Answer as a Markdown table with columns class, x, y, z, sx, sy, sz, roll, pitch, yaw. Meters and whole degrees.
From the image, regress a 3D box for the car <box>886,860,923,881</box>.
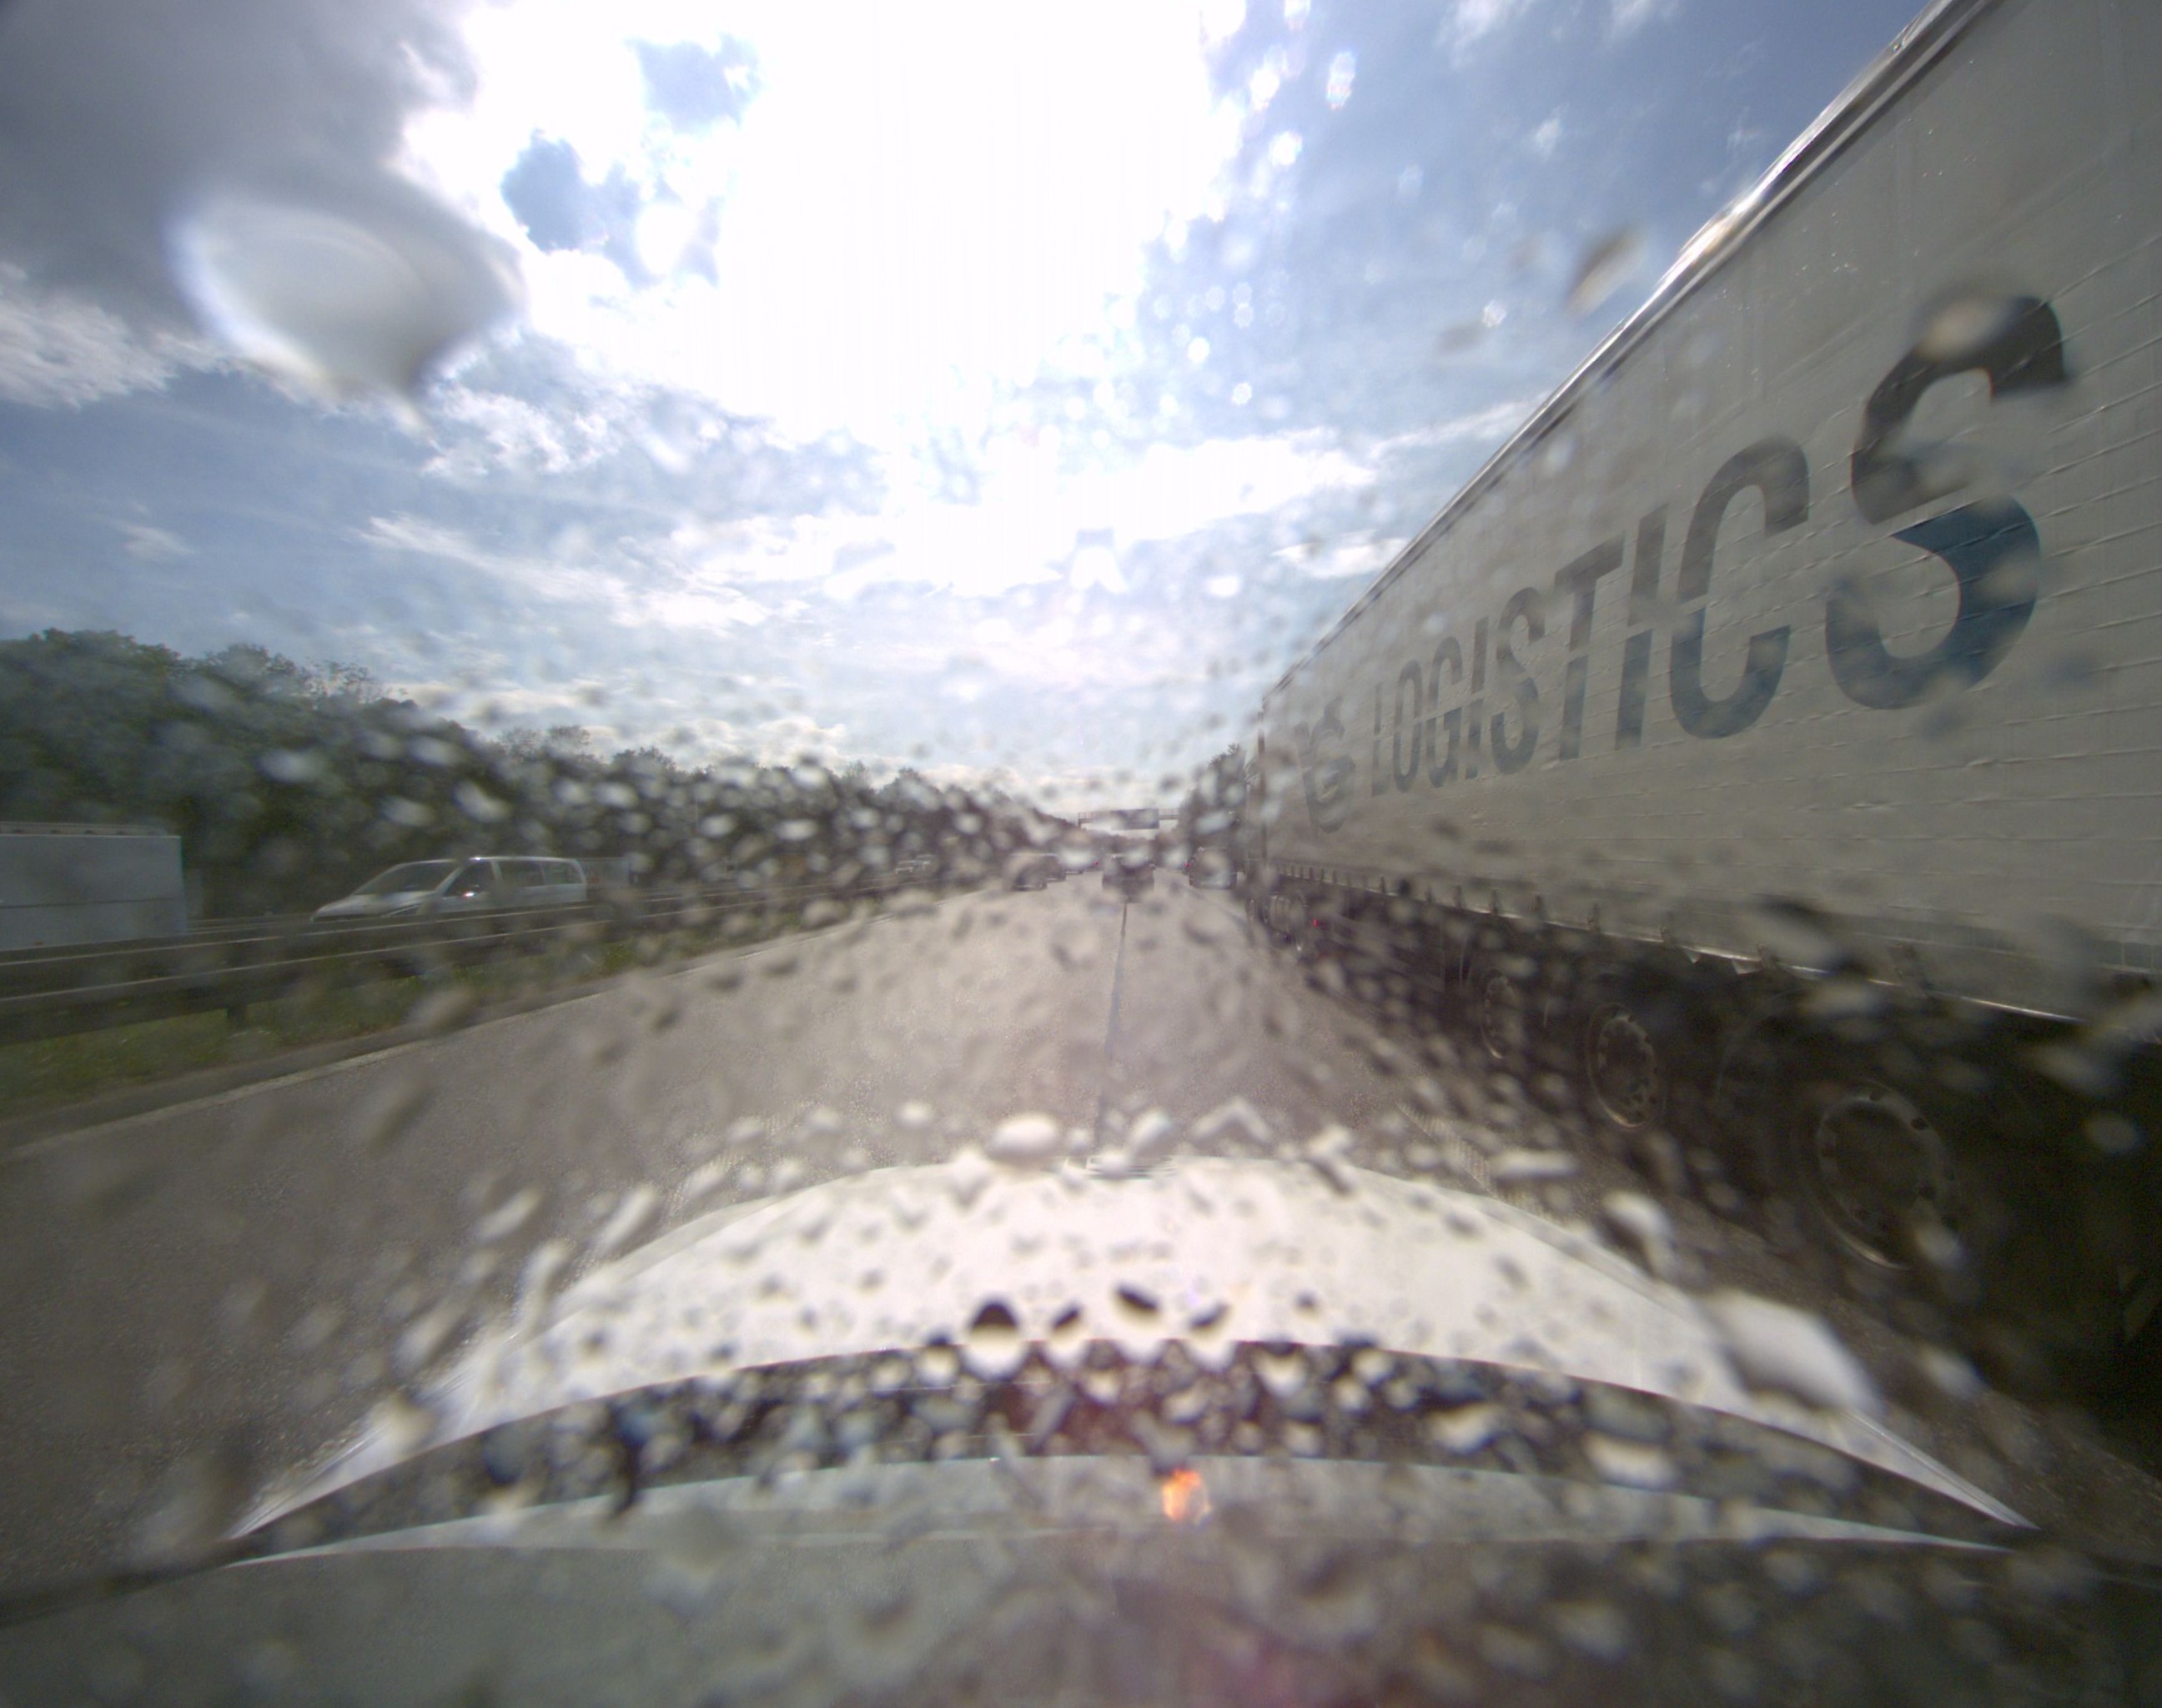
| class | x | y | z | sx | sy | sz | roll | pitch | yaw |
| --- | --- | --- | --- | --- | --- | --- | --- | --- | --- |
| car | -16.517 | 1.566 | 76.614 | 2.038 | 1.891 | 5.263 | -1 | -1 | 3 |

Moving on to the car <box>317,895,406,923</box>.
| class | x | y | z | sx | sy | sz | roll | pitch | yaw |
| --- | --- | --- | --- | --- | --- | --- | --- | --- | --- |
| car | -50.265 | 3.813 | 57.009 | 2.048 | 1.718 | 4.375 | -1 | -1 | 6 |

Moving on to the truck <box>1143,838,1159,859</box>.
| class | x | y | z | sx | sy | sz | roll | pitch | yaw |
| --- | --- | --- | --- | --- | --- | --- | --- | --- | --- |
| truck | 12.593 | -0.936 | 147.507 | 2.763 | 3.632 | 5.923 | -1 | -1 | 4 |

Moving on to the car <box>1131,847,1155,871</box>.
| class | x | y | z | sx | sy | sz | roll | pitch | yaw |
| --- | --- | --- | --- | --- | --- | --- | --- | --- | --- |
| car | 4.715 | 0.377 | 62.285 | 1.686 | 1.805 | 3.977 | 0 | -1 | 2 |

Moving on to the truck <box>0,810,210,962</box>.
| class | x | y | z | sx | sy | sz | roll | pitch | yaw |
| --- | --- | --- | --- | --- | --- | --- | --- | --- | --- |
| truck | -20.410 | 0.570 | 14.007 | 2.830 | 2.682 | 7.199 | -1 | -1 | 4 |

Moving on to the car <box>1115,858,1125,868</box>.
| class | x | y | z | sx | sy | sz | roll | pitch | yaw |
| --- | --- | --- | --- | --- | --- | --- | --- | --- | --- |
| car | 8.246 | 1.972 | 171.782 | 1.984 | 2.115 | 4.894 | -1 | -1 | 4 |

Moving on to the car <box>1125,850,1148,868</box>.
| class | x | y | z | sx | sy | sz | roll | pitch | yaw |
| --- | --- | --- | --- | --- | --- | --- | --- | --- | --- |
| car | 5.023 | 0.468 | 74.277 | 1.858 | 1.516 | 3.977 | 0 | -1 | 1 |

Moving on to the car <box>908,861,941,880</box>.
| class | x | y | z | sx | sy | sz | roll | pitch | yaw |
| --- | --- | --- | --- | --- | --- | --- | --- | --- | --- |
| car | -15.923 | 1.625 | 82.994 | 2.038 | 1.891 | 5.263 | -1 | -1 | 3 |

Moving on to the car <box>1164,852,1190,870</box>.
| class | x | y | z | sx | sy | sz | roll | pitch | yaw |
| --- | --- | --- | --- | --- | --- | --- | --- | --- | --- |
| car | 8.287 | 0.619 | 70.514 | 1.858 | 1.516 | 3.977 | 0 | -1 | 1 |

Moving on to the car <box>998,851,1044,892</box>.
| class | x | y | z | sx | sy | sz | roll | pitch | yaw |
| --- | --- | --- | --- | --- | --- | --- | --- | --- | --- |
| car | -2.743 | 0.777 | 38.013 | 1.686 | 1.805 | 3.977 | 0 | -1 | 2 |

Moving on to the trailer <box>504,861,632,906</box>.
| class | x | y | z | sx | sy | sz | roll | pitch | yaw |
| --- | --- | --- | --- | --- | --- | --- | --- | --- | --- |
| trailer | -47.097 | 2.597 | 75.368 | 3.765 | 3.649 | 10.529 | -2 | 0 | 11 |

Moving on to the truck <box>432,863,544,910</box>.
| class | x | y | z | sx | sy | sz | roll | pitch | yaw |
| --- | --- | --- | --- | --- | --- | --- | --- | --- | --- |
| truck | -48.561 | 2.574 | 66.959 | 3.766 | 3.660 | 6.721 | -1 | -1 | 9 |

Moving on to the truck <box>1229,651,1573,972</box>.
| class | x | y | z | sx | sy | sz | roll | pitch | yaw |
| --- | --- | --- | --- | --- | --- | --- | --- | --- | --- |
| truck | 4.461 | -0.505 | 13.105 | 3.271 | 3.891 | 6.400 | 0 | 0 | 2 |

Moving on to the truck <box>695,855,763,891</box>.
| class | x | y | z | sx | sy | sz | roll | pitch | yaw |
| --- | --- | --- | --- | --- | --- | --- | --- | --- | --- |
| truck | -41.766 | 2.229 | 96.849 | 3.758 | 4.117 | 7.076 | -1 | -1 | 17 |

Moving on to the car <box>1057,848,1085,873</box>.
| class | x | y | z | sx | sy | sz | roll | pitch | yaw |
| --- | --- | --- | --- | --- | --- | --- | --- | --- | --- |
| car | -0.818 | 0.530 | 69.044 | 1.970 | 2.054 | 4.761 | -1 | -1 | 4 |

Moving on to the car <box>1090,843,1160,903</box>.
| class | x | y | z | sx | sy | sz | roll | pitch | yaw |
| --- | --- | --- | --- | --- | --- | --- | --- | --- | --- |
| car | 1.532 | 0.660 | 29.149 | 2.265 | 1.954 | 4.823 | -1 | -1 | 2 |

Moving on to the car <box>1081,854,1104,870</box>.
| class | x | y | z | sx | sy | sz | roll | pitch | yaw |
| --- | --- | --- | --- | --- | --- | --- | --- | --- | --- |
| car | 1.180 | 0.820 | 81.478 | 1.984 | 1.565 | 4.761 | -1 | -1 | 4 |

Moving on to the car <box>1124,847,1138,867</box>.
| class | x | y | z | sx | sy | sz | roll | pitch | yaw |
| --- | --- | --- | --- | --- | --- | --- | --- | --- | --- |
| car | 7.384 | 0.463 | 120.380 | 1.984 | 2.746 | 5.265 | -1 | -1 | 4 |

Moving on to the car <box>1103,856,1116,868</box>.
| class | x | y | z | sx | sy | sz | roll | pitch | yaw |
| --- | --- | --- | --- | --- | --- | --- | --- | --- | --- |
| car | 5.011 | 1.415 | 143.614 | 1.984 | 2.115 | 4.894 | -1 | -1 | 4 |

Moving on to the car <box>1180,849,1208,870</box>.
| class | x | y | z | sx | sy | sz | roll | pitch | yaw |
| --- | --- | --- | --- | --- | --- | --- | --- | --- | --- |
| car | 8.297 | 0.427 | 59.980 | 1.585 | 1.516 | 3.977 | 0 | -1 | 2 |

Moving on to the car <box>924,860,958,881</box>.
| class | x | y | z | sx | sy | sz | roll | pitch | yaw |
| --- | --- | --- | --- | --- | --- | --- | --- | --- | --- |
| car | -13.046 | 1.532 | 76.215 | 2.038 | 1.891 | 5.263 | -1 | -1 | 3 |

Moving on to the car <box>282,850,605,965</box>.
| class | x | y | z | sx | sy | sz | roll | pitch | yaw |
| --- | --- | --- | --- | --- | --- | --- | --- | --- | --- |
| car | -12.092 | 0.916 | 16.104 | 2.038 | 1.891 | 5.263 | -1 | -1 | 3 |

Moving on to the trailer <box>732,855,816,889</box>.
| class | x | y | z | sx | sy | sz | roll | pitch | yaw |
| --- | --- | --- | --- | --- | --- | --- | --- | --- | --- |
| trailer | -39.287 | 2.290 | 104.948 | 3.758 | 4.117 | 11.777 | -1 | -1 | 17 |

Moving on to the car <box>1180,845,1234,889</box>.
| class | x | y | z | sx | sy | sz | roll | pitch | yaw |
| --- | --- | --- | --- | --- | --- | --- | --- | --- | --- |
| car | 5.849 | 0.598 | 38.444 | 1.934 | 1.919 | 5.656 | -1 | -1 | 3 |

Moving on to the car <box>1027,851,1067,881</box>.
| class | x | y | z | sx | sy | sz | roll | pitch | yaw |
| --- | --- | --- | --- | --- | --- | --- | --- | --- | --- |
| car | -2.024 | 0.732 | 49.806 | 1.900 | 1.636 | 4.622 | -2 | -1 | 4 |

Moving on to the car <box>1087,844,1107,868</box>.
| class | x | y | z | sx | sy | sz | roll | pitch | yaw |
| --- | --- | --- | --- | --- | --- | --- | --- | --- | --- |
| car | 1.910 | 0.237 | 93.402 | 1.984 | 2.615 | 5.265 | -1 | -1 | 4 |

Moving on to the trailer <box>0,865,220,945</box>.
| class | x | y | z | sx | sy | sz | roll | pitch | yaw |
| --- | --- | --- | --- | --- | --- | --- | --- | --- | --- |
| trailer | -52.807 | 2.527 | 41.070 | 3.771 | 3.649 | 13.361 | -2 | 0 | 4 |

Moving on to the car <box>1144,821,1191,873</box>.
| class | x | y | z | sx | sy | sz | roll | pitch | yaw |
| --- | --- | --- | --- | --- | --- | --- | --- | --- | --- |
| car | 10.506 | -0.717 | 101.134 | 4.388 | 5.830 | 16.822 | 0 | -1 | 1 |

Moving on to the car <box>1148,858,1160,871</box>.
| class | x | y | z | sx | sy | sz | roll | pitch | yaw |
| --- | --- | --- | --- | --- | --- | --- | --- | --- | --- |
| car | 11.983 | 1.686 | 134.002 | 1.984 | 2.115 | 4.894 | -1 | -1 | 4 |

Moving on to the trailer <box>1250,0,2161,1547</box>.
| class | x | y | z | sx | sy | sz | roll | pitch | yaw |
| --- | --- | --- | --- | --- | --- | --- | --- | --- | --- |
| trailer | 4.111 | -0.526 | 6.568 | 3.270 | 3.898 | 14.139 | 0 | 0 | 3 |
